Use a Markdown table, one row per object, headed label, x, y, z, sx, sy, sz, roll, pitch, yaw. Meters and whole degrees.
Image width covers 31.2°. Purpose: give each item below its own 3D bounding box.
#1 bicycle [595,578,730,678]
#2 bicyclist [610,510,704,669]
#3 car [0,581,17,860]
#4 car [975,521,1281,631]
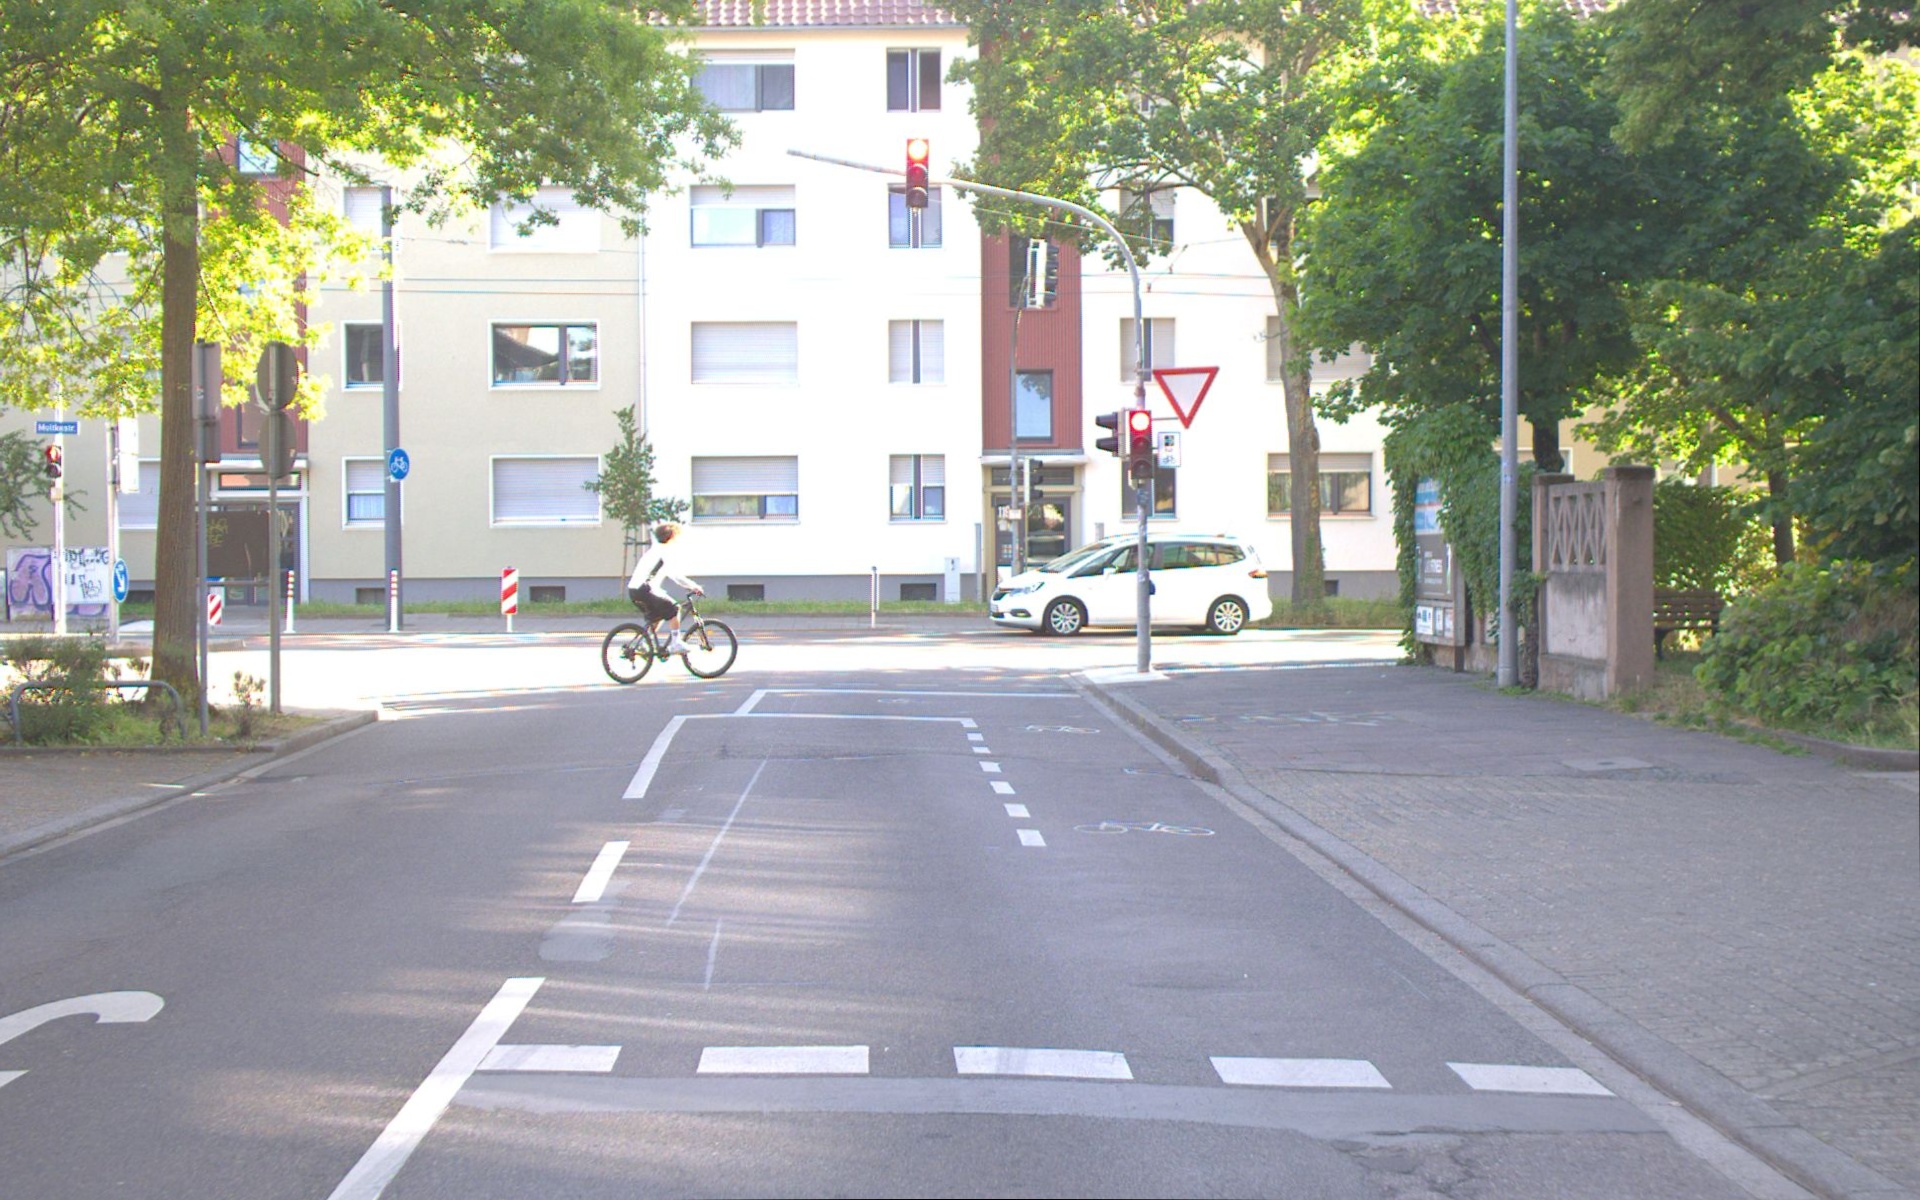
| label | x | y | z | sx | sy | sz | roll | pitch | yaw |
| --- | --- | --- | --- | --- | --- | --- | --- | --- | --- |
| bicycle | -3.315 | 0.305 | 38.475 | 0.351 | 1.076 | 1.685 | 1 | 2 | 44 |
| bicyclist | -3.383 | -0.119 | 38.420 | 0.787 | 1.751 | 0.612 | -2 | 1 | -44 |
| car | -5.869 | 0.662 | 16.174 | 1.726 | 1.470 | 4.479 | 1 | 1 | -2 |
| car | 2.751 | -0.420 | 56.638 | 4.660 | 1.733 | 2.001 | -1 | 1 | -13 |
